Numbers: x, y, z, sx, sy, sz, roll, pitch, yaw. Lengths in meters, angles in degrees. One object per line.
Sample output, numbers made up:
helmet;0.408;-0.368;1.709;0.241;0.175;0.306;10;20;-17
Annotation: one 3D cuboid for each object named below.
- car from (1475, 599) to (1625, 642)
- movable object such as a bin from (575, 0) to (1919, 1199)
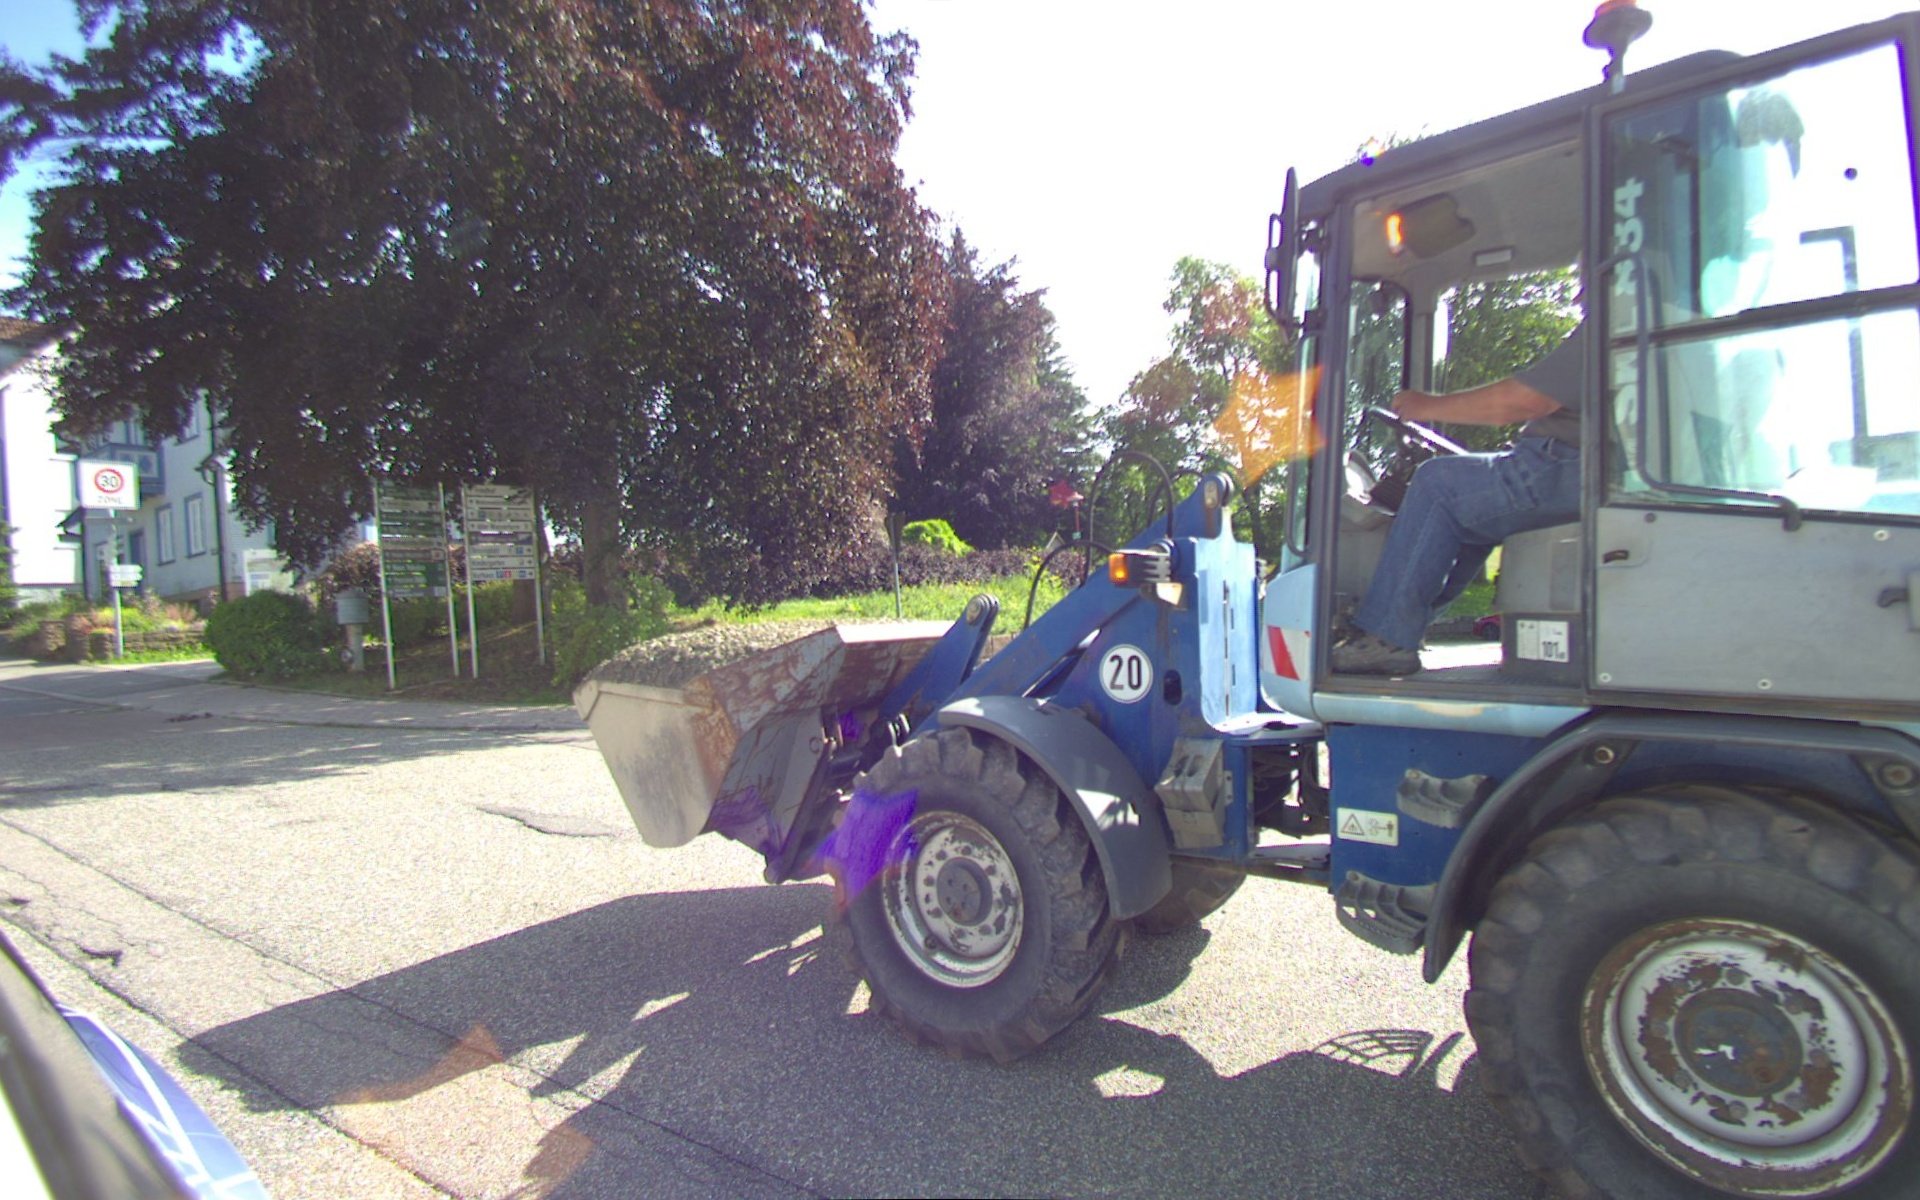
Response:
car;20.980;0.735;36.156;1.793;1.409;4.250;-1;-1;-32
movable object such as a bin;1.070;-0.003;3.453;5.094;2.790;1.976;0;0;36
